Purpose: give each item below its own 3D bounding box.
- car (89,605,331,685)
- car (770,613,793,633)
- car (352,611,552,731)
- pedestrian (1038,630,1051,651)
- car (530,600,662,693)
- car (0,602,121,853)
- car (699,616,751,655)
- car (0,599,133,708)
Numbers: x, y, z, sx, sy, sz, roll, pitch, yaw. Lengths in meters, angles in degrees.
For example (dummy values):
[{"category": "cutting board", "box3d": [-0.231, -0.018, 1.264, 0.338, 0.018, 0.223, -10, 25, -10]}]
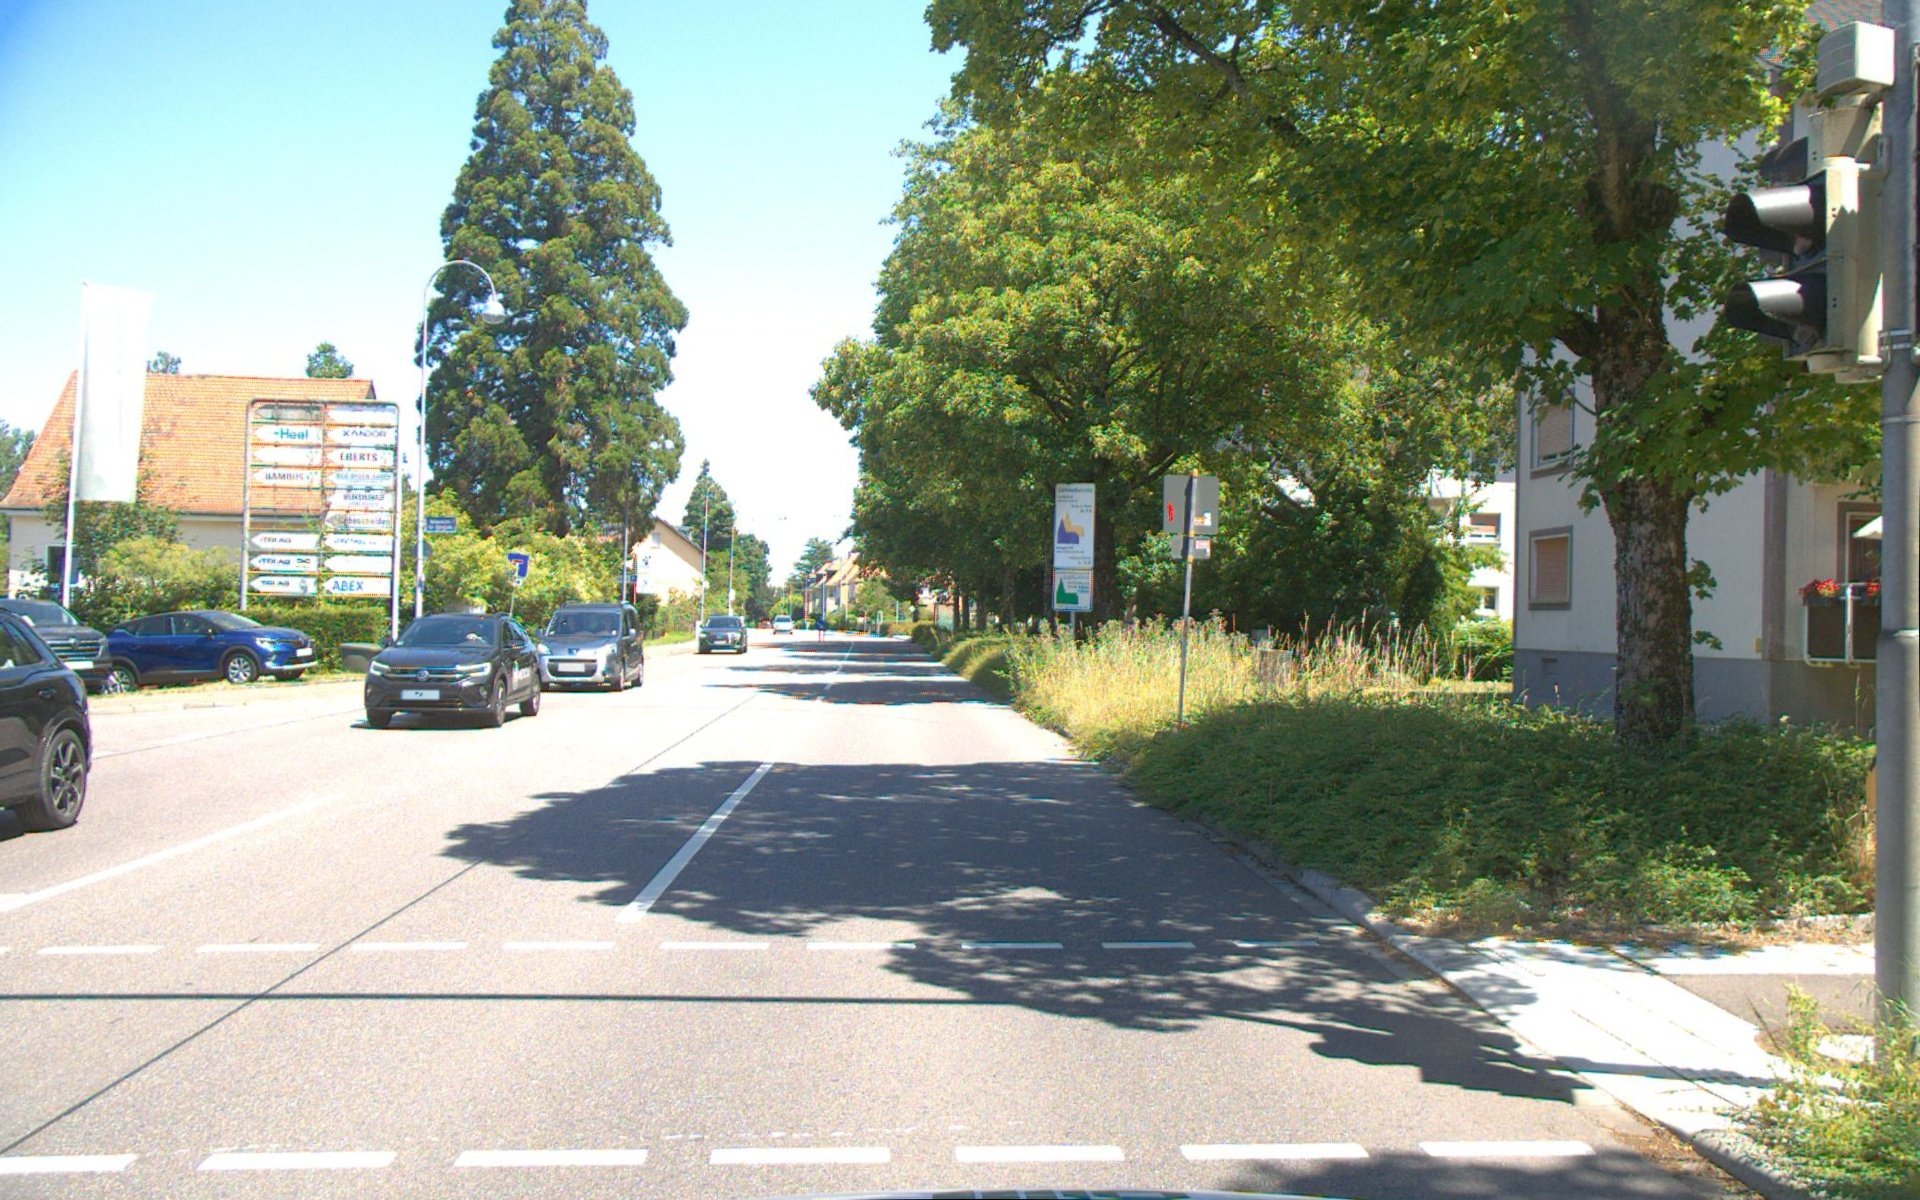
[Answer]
[{"category": "car", "box3d": [-14.913, 0.878, 32.985, 4.047, 1.531, 1.779, 0, -1, 8]}, {"category": "car", "box3d": [-15.961, 2.034, 148.049, 1.874, 1.719, 4.122, 1, -1, -4]}, {"category": "car", "box3d": [-7.024, 0.931, 23.289, 1.832, 1.533, 4.049, 0, -1, -4]}, {"category": "pedestrian", "box3d": [4.763, 2.284, 93.419, 0.689, 1.180, 0.754, 1, -1, 1]}, {"category": "car", "box3d": [-7.463, 0.956, 34.318, 1.774, 1.793, 4.568, 0, -1, -1]}, {"category": "car", "box3d": [-6.963, 0.796, 10.112, 1.889, 1.583, 4.296, 0, -1, -7]}, {"category": "car", "box3d": [-9.948, 1.483, 70.259, 1.758, 1.563, 4.312, 1, -1, -3]}, {"category": "car", "box3d": [-17.664, 0.932, 30.564, 4.358, 1.757, 2.061, 0, 3, 28]}]
